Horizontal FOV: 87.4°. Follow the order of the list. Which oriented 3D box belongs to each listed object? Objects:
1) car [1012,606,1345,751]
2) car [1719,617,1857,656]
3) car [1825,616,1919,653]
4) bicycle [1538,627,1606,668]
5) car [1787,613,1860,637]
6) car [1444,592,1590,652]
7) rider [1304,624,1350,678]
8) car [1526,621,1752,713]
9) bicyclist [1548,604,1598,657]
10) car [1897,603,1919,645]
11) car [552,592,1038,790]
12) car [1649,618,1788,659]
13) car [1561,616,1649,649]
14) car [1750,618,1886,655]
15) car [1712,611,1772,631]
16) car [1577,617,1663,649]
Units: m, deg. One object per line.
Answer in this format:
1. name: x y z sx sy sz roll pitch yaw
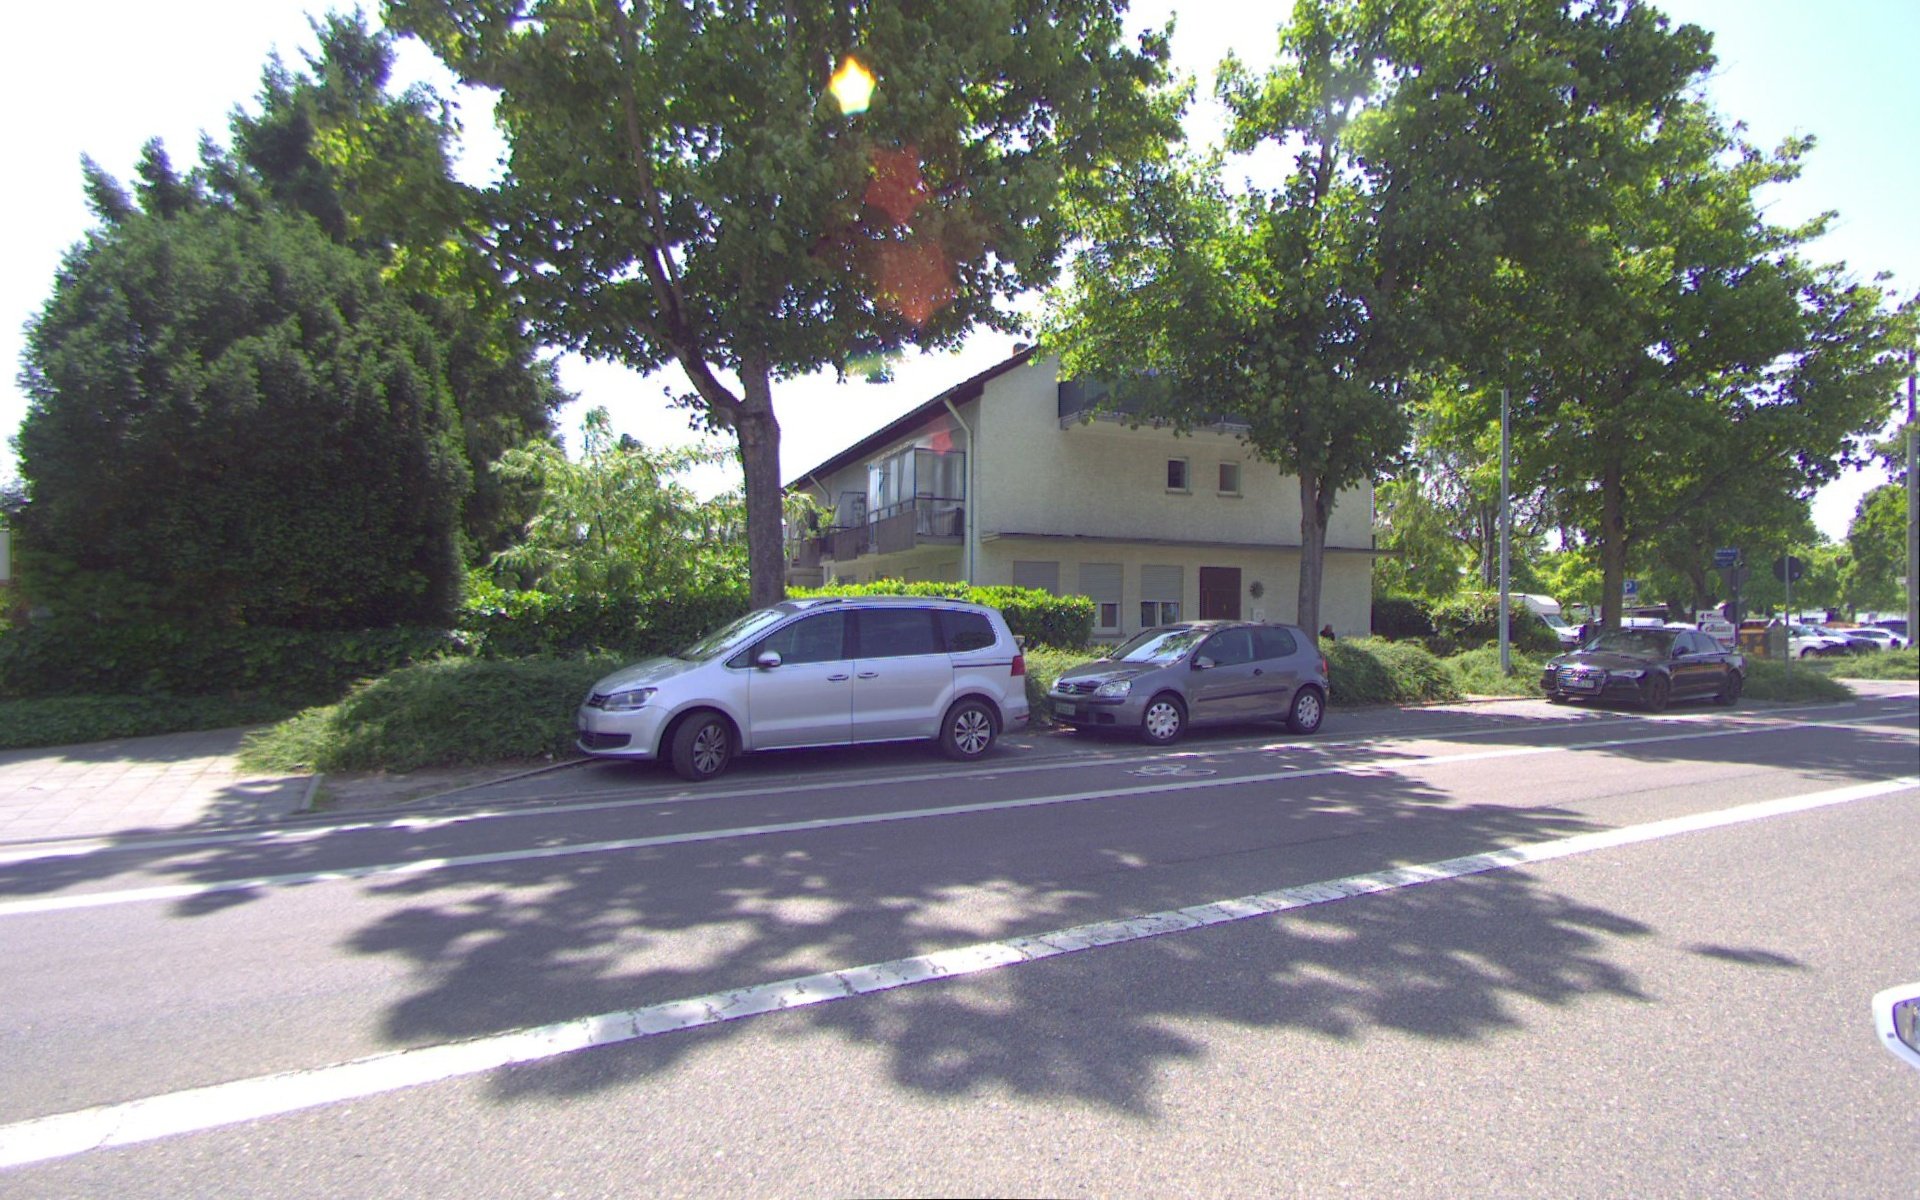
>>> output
1. car: 2.914 0.921 13.194 4.132 1.585 1.809 1 1 -31
2. car: 36.367 1.577 44.226 1.886 1.606 4.333 1 -1 -24
3. car: 45.561 1.664 49.536 1.975 1.769 3.968 1 -1 -30
4. bicycle: 16.575 1.298 27.201 1.805 1.043 0.698 2 1 -27
5. car: 68.789 1.984 80.068 1.795 1.638 4.000 2 1 -30
6. car: 30.985 1.152 56.146 2.337 3.005 6.817 2 1 -30
7. rider: 9.718 1.338 26.589 0.800 1.392 0.824 1 -1 -21
8. car: 12.895 1.184 19.020 4.397 1.496 1.809 1 1 -31
9. bicyclist: 16.593 0.820 27.194 0.817 1.392 0.806 2 1 -27
10. car: 54.765 1.419 54.612 2.349 2.274 5.076 2 1 -28
11. car: -1.641 0.793 10.586 4.725 1.687 1.863 1 0 -31
12. car: 31.750 1.572 42.174 1.891 1.606 4.321 1 -1 -31
13. car: 37.962 1.891 59.183 1.799 1.675 3.957 2 1 -37
14. car: 38.732 1.612 45.486 1.885 1.606 4.333 1 -1 -23
15. car: 72.942 1.904 93.713 1.794 1.638 4.003 2 1 -28
16. car: 39.846 1.950 60.694 1.799 1.675 3.957 2 1 -37
